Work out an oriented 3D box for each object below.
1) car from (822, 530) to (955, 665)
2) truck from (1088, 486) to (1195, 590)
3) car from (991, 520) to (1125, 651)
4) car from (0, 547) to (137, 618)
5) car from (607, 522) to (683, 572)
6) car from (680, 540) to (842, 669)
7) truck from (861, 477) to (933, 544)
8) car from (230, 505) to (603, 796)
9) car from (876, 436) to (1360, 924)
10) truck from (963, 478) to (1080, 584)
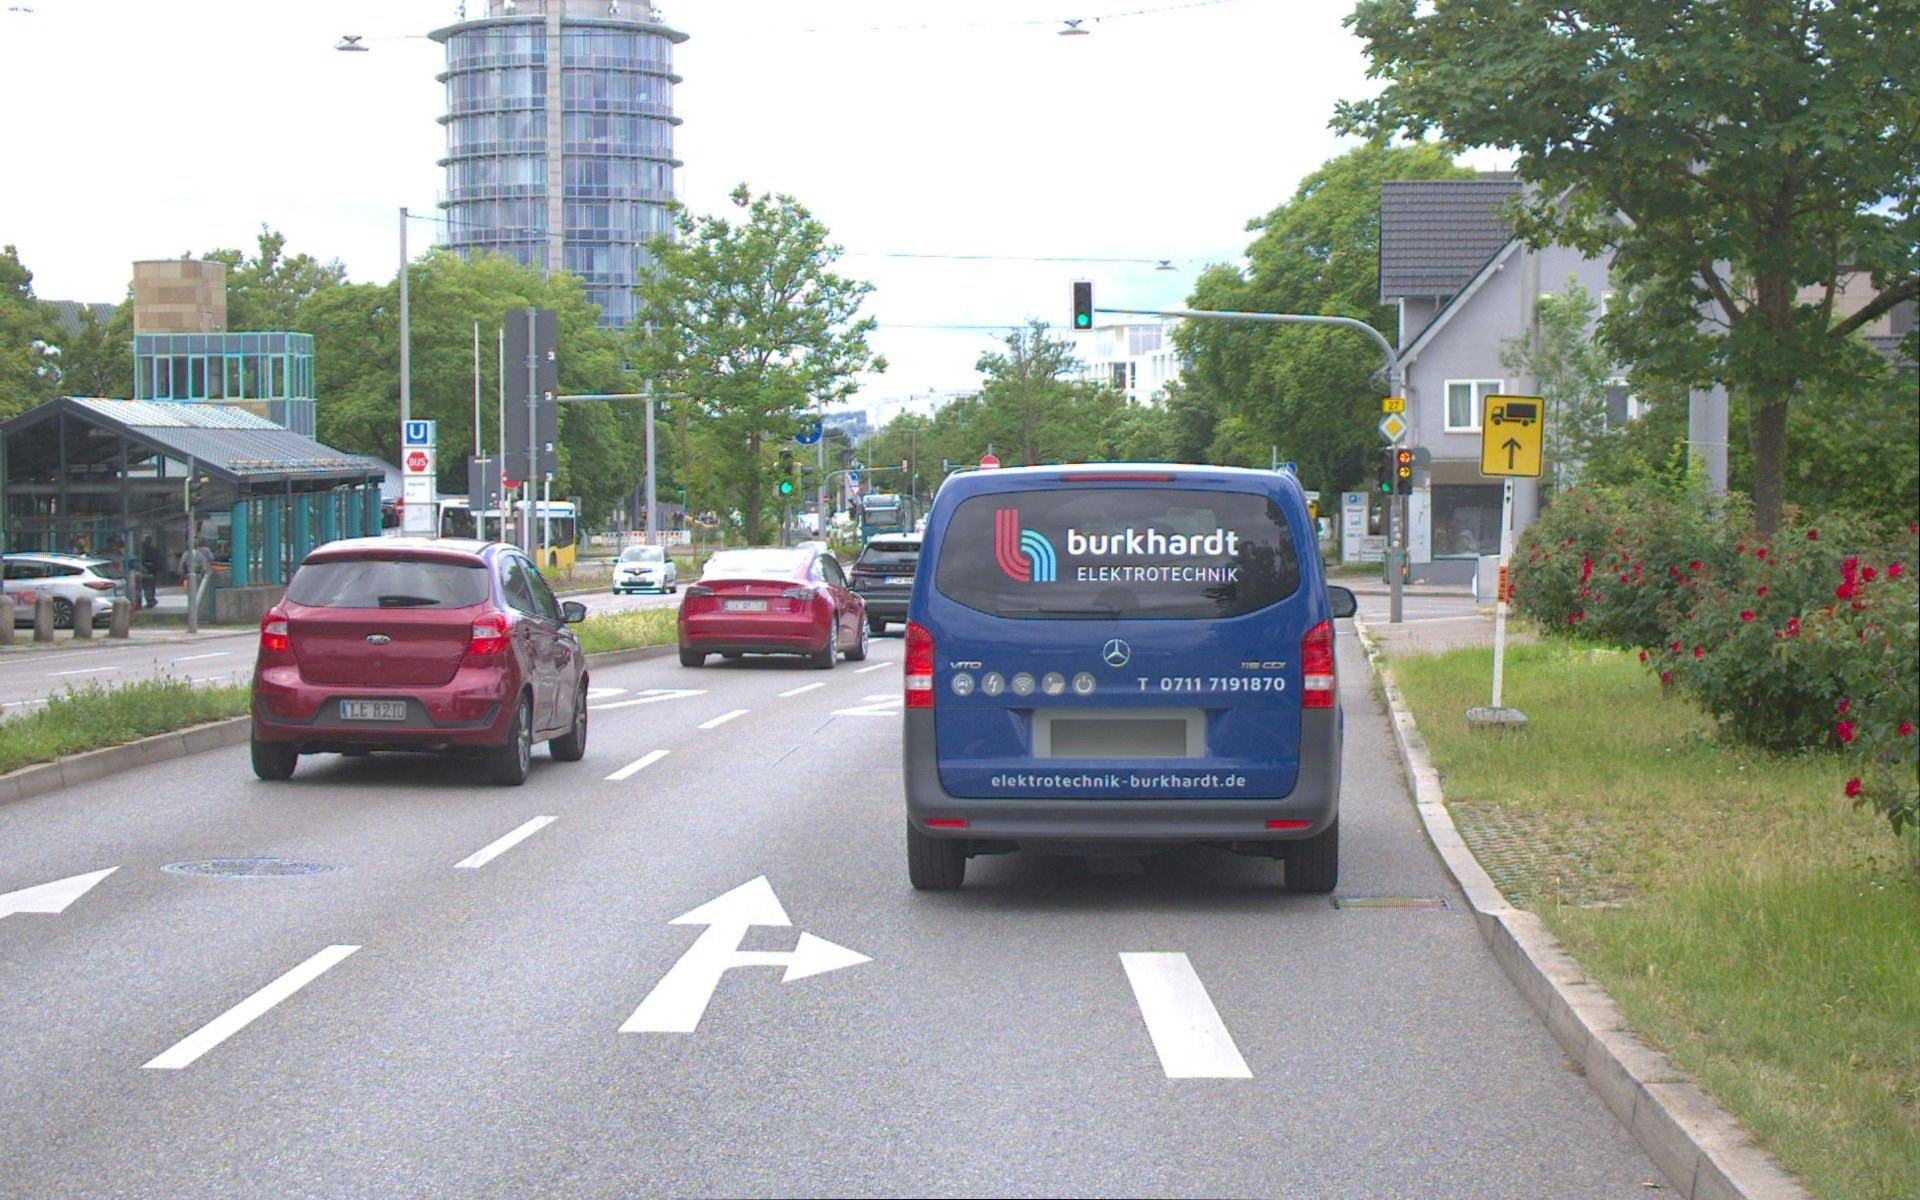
[{"bbox_3d":[-1.195,-0.074,55.614,1.993,2.006,4.001,1,2,-3],"label":"car"},{"bbox_3d":[4.036,-1.364,75.792,1.994,2.158,5.558,2,1,6],"label":"truck"},{"bbox_3d":[1.384,-0.233,47.305,1.746,1.717,4.000,0,1,3],"label":"car"},{"bbox_3d":[-18.437,-0.353,67.702,3.986,1.349,2.000,0,1,-2],"label":"car"},{"bbox_3d":[-10.027,-1.688,109.762,1.624,1.568,3.999,0,1,7],"label":"car"},{"bbox_3d":[-2.410,0.070,41.864,1.868,1.481,4.000,0,0,-3],"label":"car"},{"bbox_3d":[-3.608,-5.188,201.366,3.368,3.714,11.279,1,1,3],"label":"truck"},{"bbox_3d":[-3.441,0.260,22.448,1.746,1.717,4.000,0,1,1],"label":"car"},{"bbox_3d":[0.790,0.284,16.204,1.948,1.959,4.541,0,1,4],"label":"car"},{"bbox_3d":[1.392,-1.495,75.045,1.994,2.158,5.558,2,1,6],"label":"truck"}]
